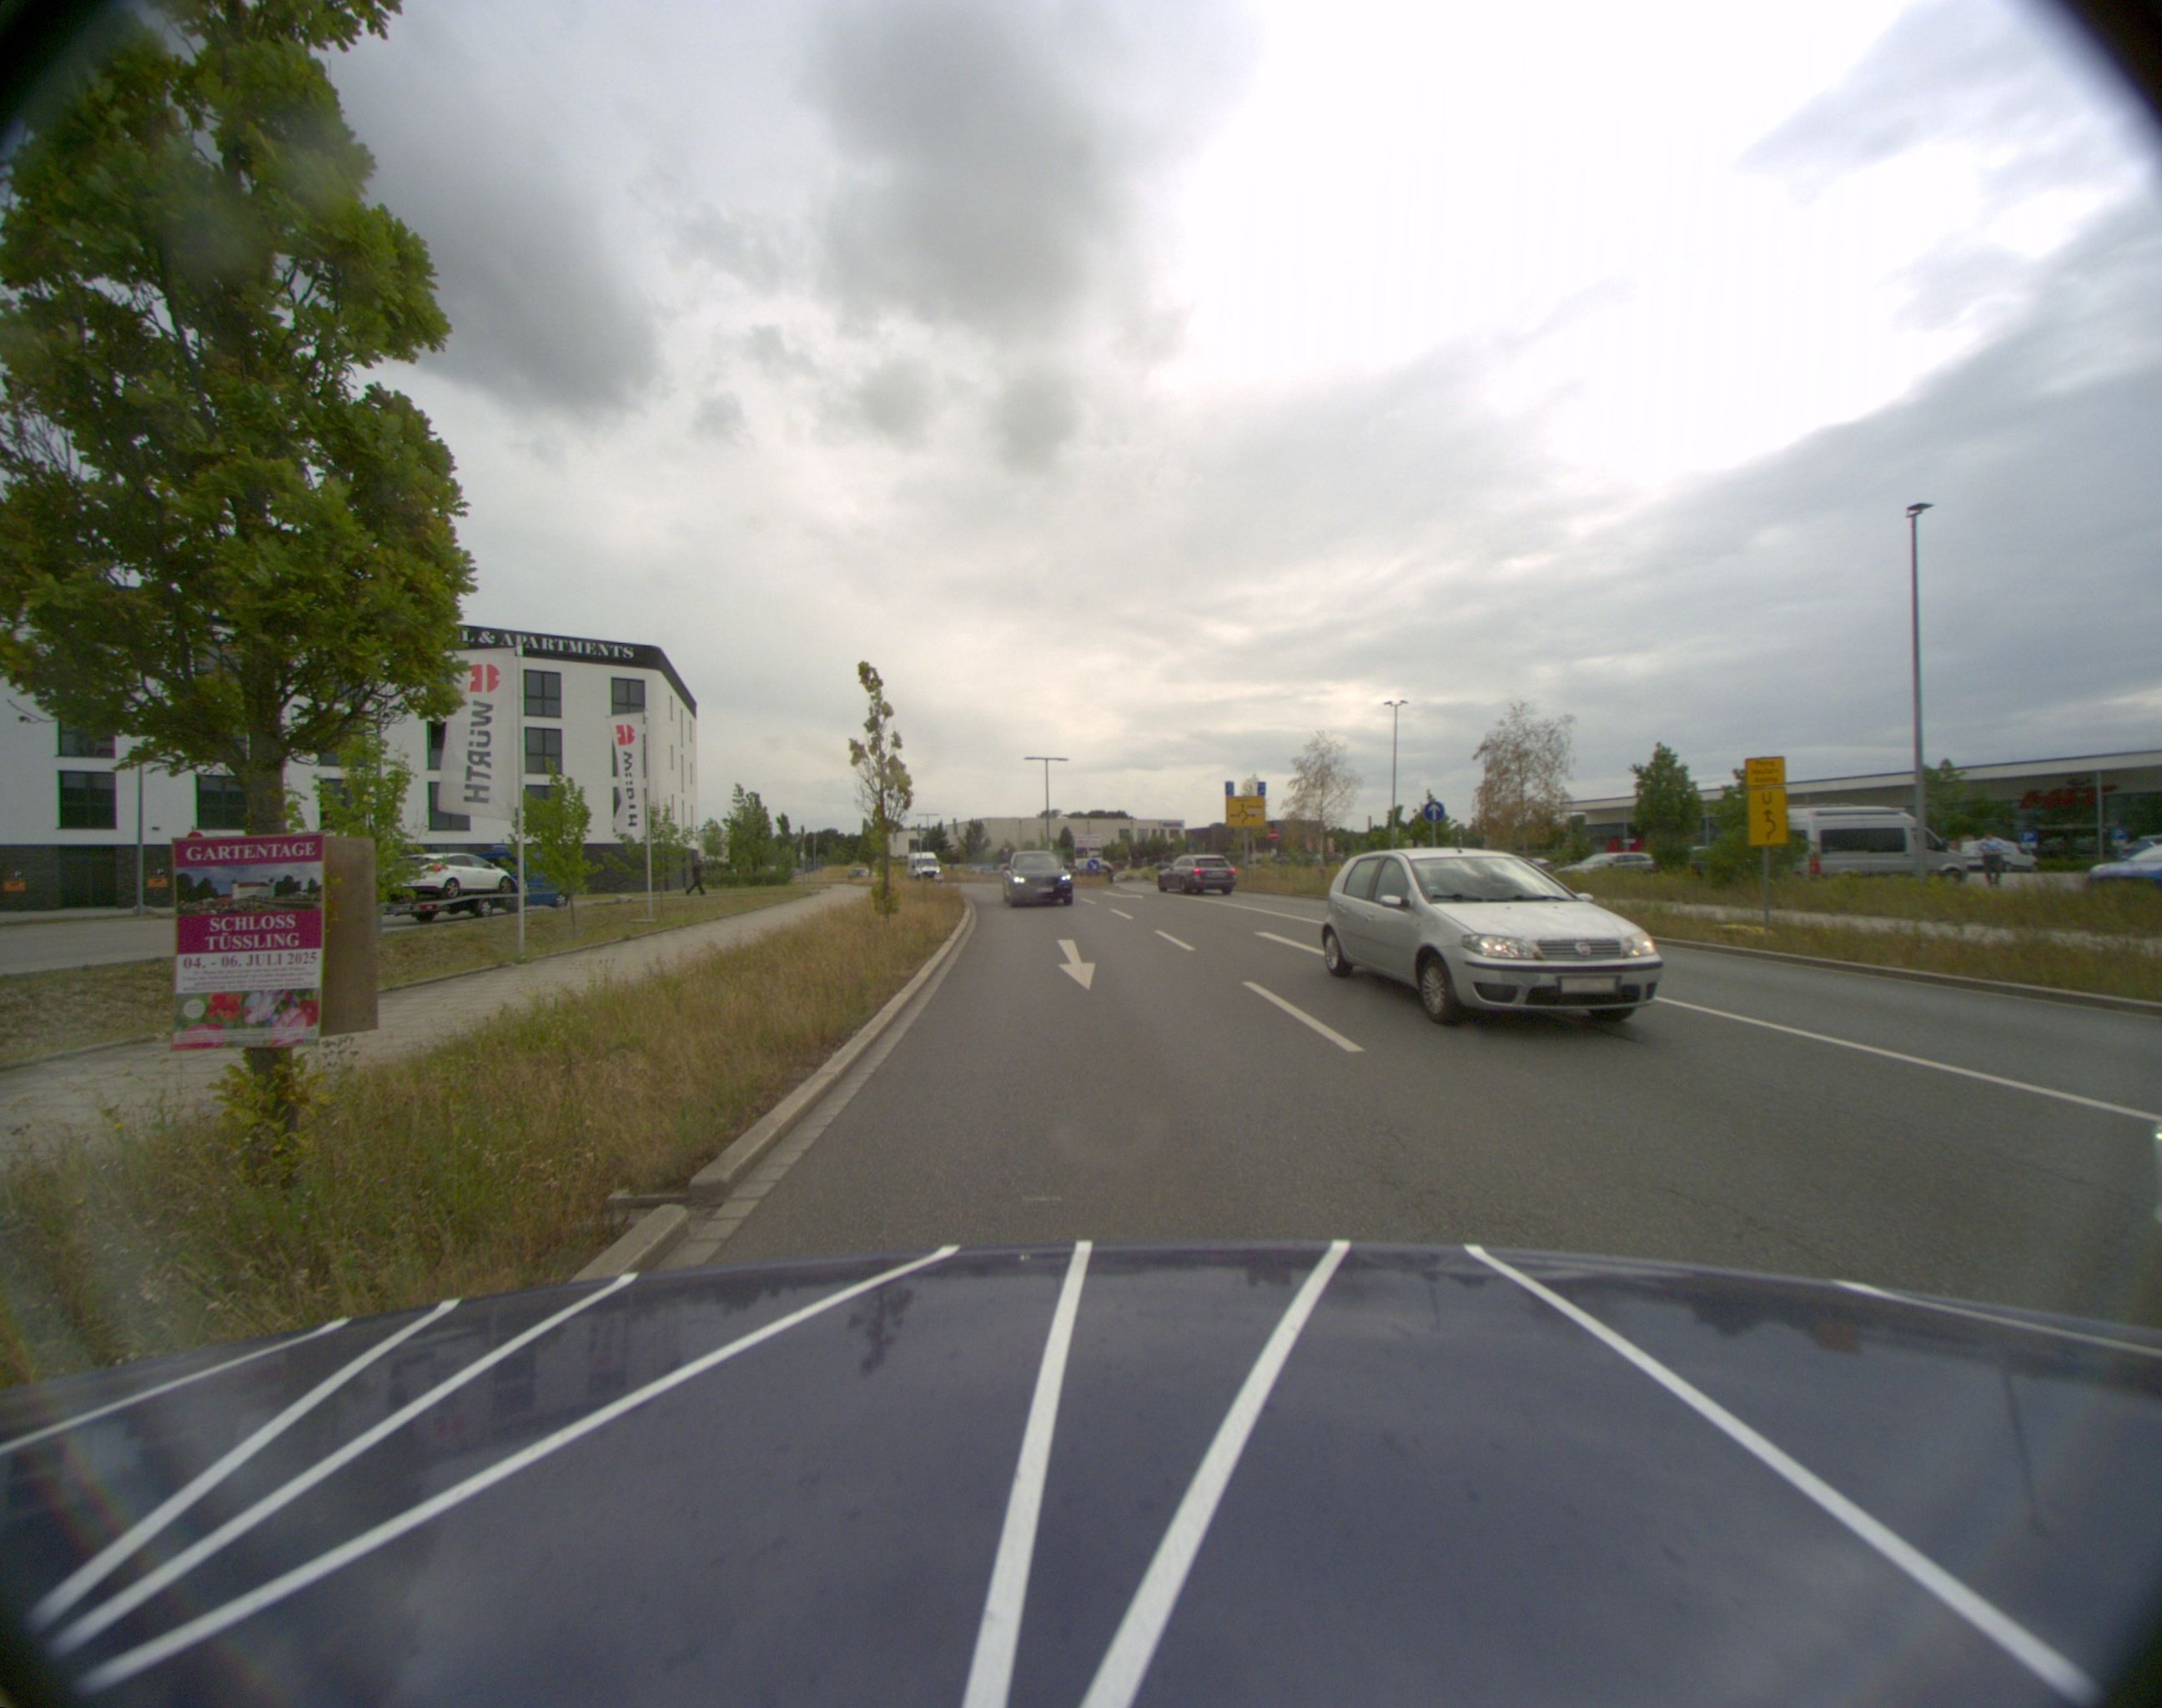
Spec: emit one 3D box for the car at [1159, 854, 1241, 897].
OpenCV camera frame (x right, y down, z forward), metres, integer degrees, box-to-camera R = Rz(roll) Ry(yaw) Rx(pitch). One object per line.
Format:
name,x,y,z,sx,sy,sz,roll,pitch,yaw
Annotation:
car,4.452,0.765,29.180,1.791,1.481,4.763,0,0,-8

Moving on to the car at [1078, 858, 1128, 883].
car,1.274,0.959,46.160,1.725,1.437,4.228,0,0,-19

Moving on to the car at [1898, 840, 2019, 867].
car,49.292,-0.028,42.805,2.001,1.433,3.996,-1,0,-13

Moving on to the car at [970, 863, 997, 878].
car,-9.585,1.612,74.671,1.790,1.313,3.993,-2,0,-20

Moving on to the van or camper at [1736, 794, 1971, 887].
van or camper,24.708,-0.447,24.409,5.871,2.784,2.241,-1,1,-8

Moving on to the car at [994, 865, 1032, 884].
car,-5.936,1.751,65.622,2.174,1.474,4.896,-1,0,-19

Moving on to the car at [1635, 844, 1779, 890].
car,23.876,0.466,29.077,3.955,1.624,2.084,-1,0,-6

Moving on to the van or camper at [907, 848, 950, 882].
van or camper,-12.584,0.898,62.423,2.268,2.601,5.686,-1,0,-23

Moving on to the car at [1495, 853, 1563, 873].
car,33.612,0.669,57.142,1.833,1.443,4.188,-1,0,-20

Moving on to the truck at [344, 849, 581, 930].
truck,-20.755,1.058,26.308,2.233,2.312,8.209,-1,0,-7

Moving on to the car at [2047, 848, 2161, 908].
car,25.862,0.502,17.748,4.337,1.297,2.011,-1,0,-4

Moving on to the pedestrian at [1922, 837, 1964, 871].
pedestrian,41.300,0.006,36.419,0.892,1.597,1.254,-1,0,-37

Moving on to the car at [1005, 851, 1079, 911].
car,-1.316,0.788,23.802,2.000,1.654,3.997,-2,0,-7

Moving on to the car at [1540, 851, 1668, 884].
car,23.719,0.597,34.531,4.582,1.358,2.140,-1,0,-9

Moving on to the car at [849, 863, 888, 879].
car,-22.906,1.811,81.967,3.989,1.576,2.004,-2,1,38

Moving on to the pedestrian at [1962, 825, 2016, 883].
pedestrian,30.373,0.014,25.433,1.013,1.879,1.111,-1,0,-43

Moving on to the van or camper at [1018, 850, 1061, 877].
van or camper,-3.229,0.682,58.010,1.954,1.996,5.119,0,0,-18

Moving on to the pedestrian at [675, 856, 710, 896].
pedestrian,-18.699,1.045,36.598,1.195,1.847,1.073,-1,2,-10

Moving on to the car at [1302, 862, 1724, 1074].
car,3.642,0.821,7.375,1.707,1.429,4.032,-1,0,-1

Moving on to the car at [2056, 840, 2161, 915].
car,20.002,0.354,12.958,4.090,1.252,2.012,-1,0,1
